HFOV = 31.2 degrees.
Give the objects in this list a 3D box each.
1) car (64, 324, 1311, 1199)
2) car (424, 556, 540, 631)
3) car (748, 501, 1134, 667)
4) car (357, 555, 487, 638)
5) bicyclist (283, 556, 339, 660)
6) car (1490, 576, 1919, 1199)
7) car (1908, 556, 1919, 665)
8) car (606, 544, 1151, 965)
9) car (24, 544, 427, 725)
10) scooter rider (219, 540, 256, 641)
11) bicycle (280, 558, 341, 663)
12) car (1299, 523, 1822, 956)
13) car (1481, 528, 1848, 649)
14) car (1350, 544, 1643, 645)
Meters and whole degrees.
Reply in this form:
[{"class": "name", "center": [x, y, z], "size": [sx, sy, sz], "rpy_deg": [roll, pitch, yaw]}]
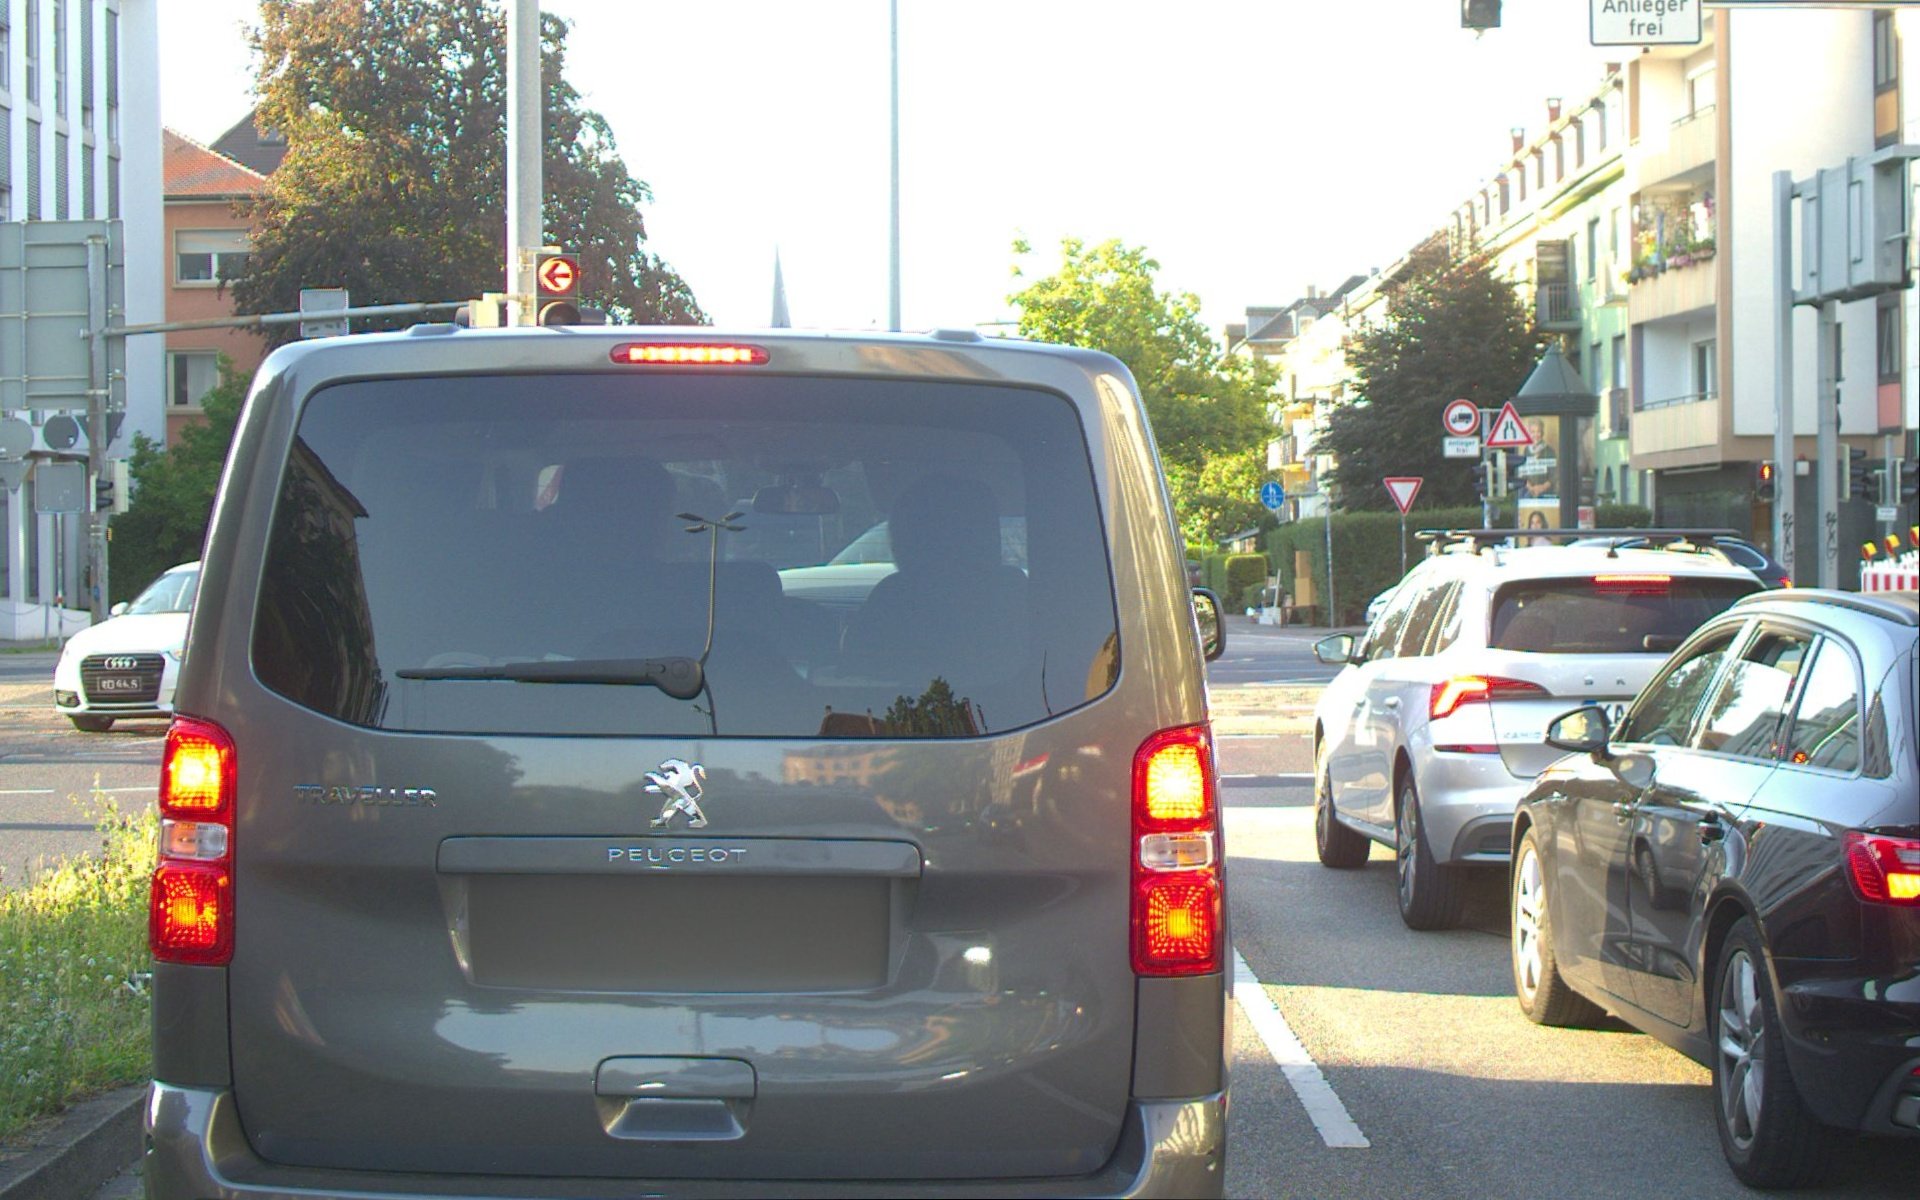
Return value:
[{"class": "car", "center": [-0.453, 0.481, 7.585], "size": [1.907, 1.857, 4.527], "rpy_deg": [1, 1, -1]}, {"class": "car", "center": [-9.425, -0.151, 68.013], "size": [1.856, 1.415, 4.001], "rpy_deg": [-1, 1, -2]}, {"class": "car", "center": [-0.179, -0.218, 39.701], "size": [4.218, 1.811, 1.999], "rpy_deg": [-2, 1, -43]}, {"class": "car", "center": [-9.741, -0.092, 62.488], "size": [1.856, 1.415, 4.001], "rpy_deg": [-1, 1, -2]}, {"class": "bicyclist", "center": [-12.751, 0.151, 67.539], "size": [0.834, 2.007, 1.064], "rpy_deg": [1, 0, 1]}, {"class": "car", "center": [2.624, 0.680, 9.223], "size": [1.681, 1.416, 4.214], "rpy_deg": [1, 1, -1]}, {"class": "car", "center": [16.099, 0.141, 49.924], "size": [4.117, 1.588, 1.796], "rpy_deg": [-1, 1, -5]}, {"class": "car", "center": [-0.322, 0.536, 14.633], "size": [1.993, 1.525, 4.000], "rpy_deg": [0, 1, -1]}, {"class": "car", "center": [-6.193, 0.256, 29.391], "size": [1.693, 1.383, 3.683], "rpy_deg": [-1, 1, 19]}, {"class": "scooter rider", "center": [-12.259, -0.169, 58.308], "size": [0.481, 1.691, 0.636], "rpy_deg": [0, 1, -1]}, {"class": "bicycle", "center": [-12.749, 0.180, 67.534], "size": [0.715, 2.007, 2.564], "rpy_deg": [0, 1, -1]}, {"class": "car", "center": [2.447, 0.495, 14.833], "size": [1.528, 1.608, 3.745], "rpy_deg": [1, 1, -1]}, {"class": "car", "center": [8.916, -0.163, 43.601], "size": [4.226, 1.437, 1.703], "rpy_deg": [-1, 1, -14]}, {"class": "car", "center": [7.533, -0.095, 48.477], "size": [3.781, 1.368, 1.651], "rpy_deg": [-1, 1, -6]}]
